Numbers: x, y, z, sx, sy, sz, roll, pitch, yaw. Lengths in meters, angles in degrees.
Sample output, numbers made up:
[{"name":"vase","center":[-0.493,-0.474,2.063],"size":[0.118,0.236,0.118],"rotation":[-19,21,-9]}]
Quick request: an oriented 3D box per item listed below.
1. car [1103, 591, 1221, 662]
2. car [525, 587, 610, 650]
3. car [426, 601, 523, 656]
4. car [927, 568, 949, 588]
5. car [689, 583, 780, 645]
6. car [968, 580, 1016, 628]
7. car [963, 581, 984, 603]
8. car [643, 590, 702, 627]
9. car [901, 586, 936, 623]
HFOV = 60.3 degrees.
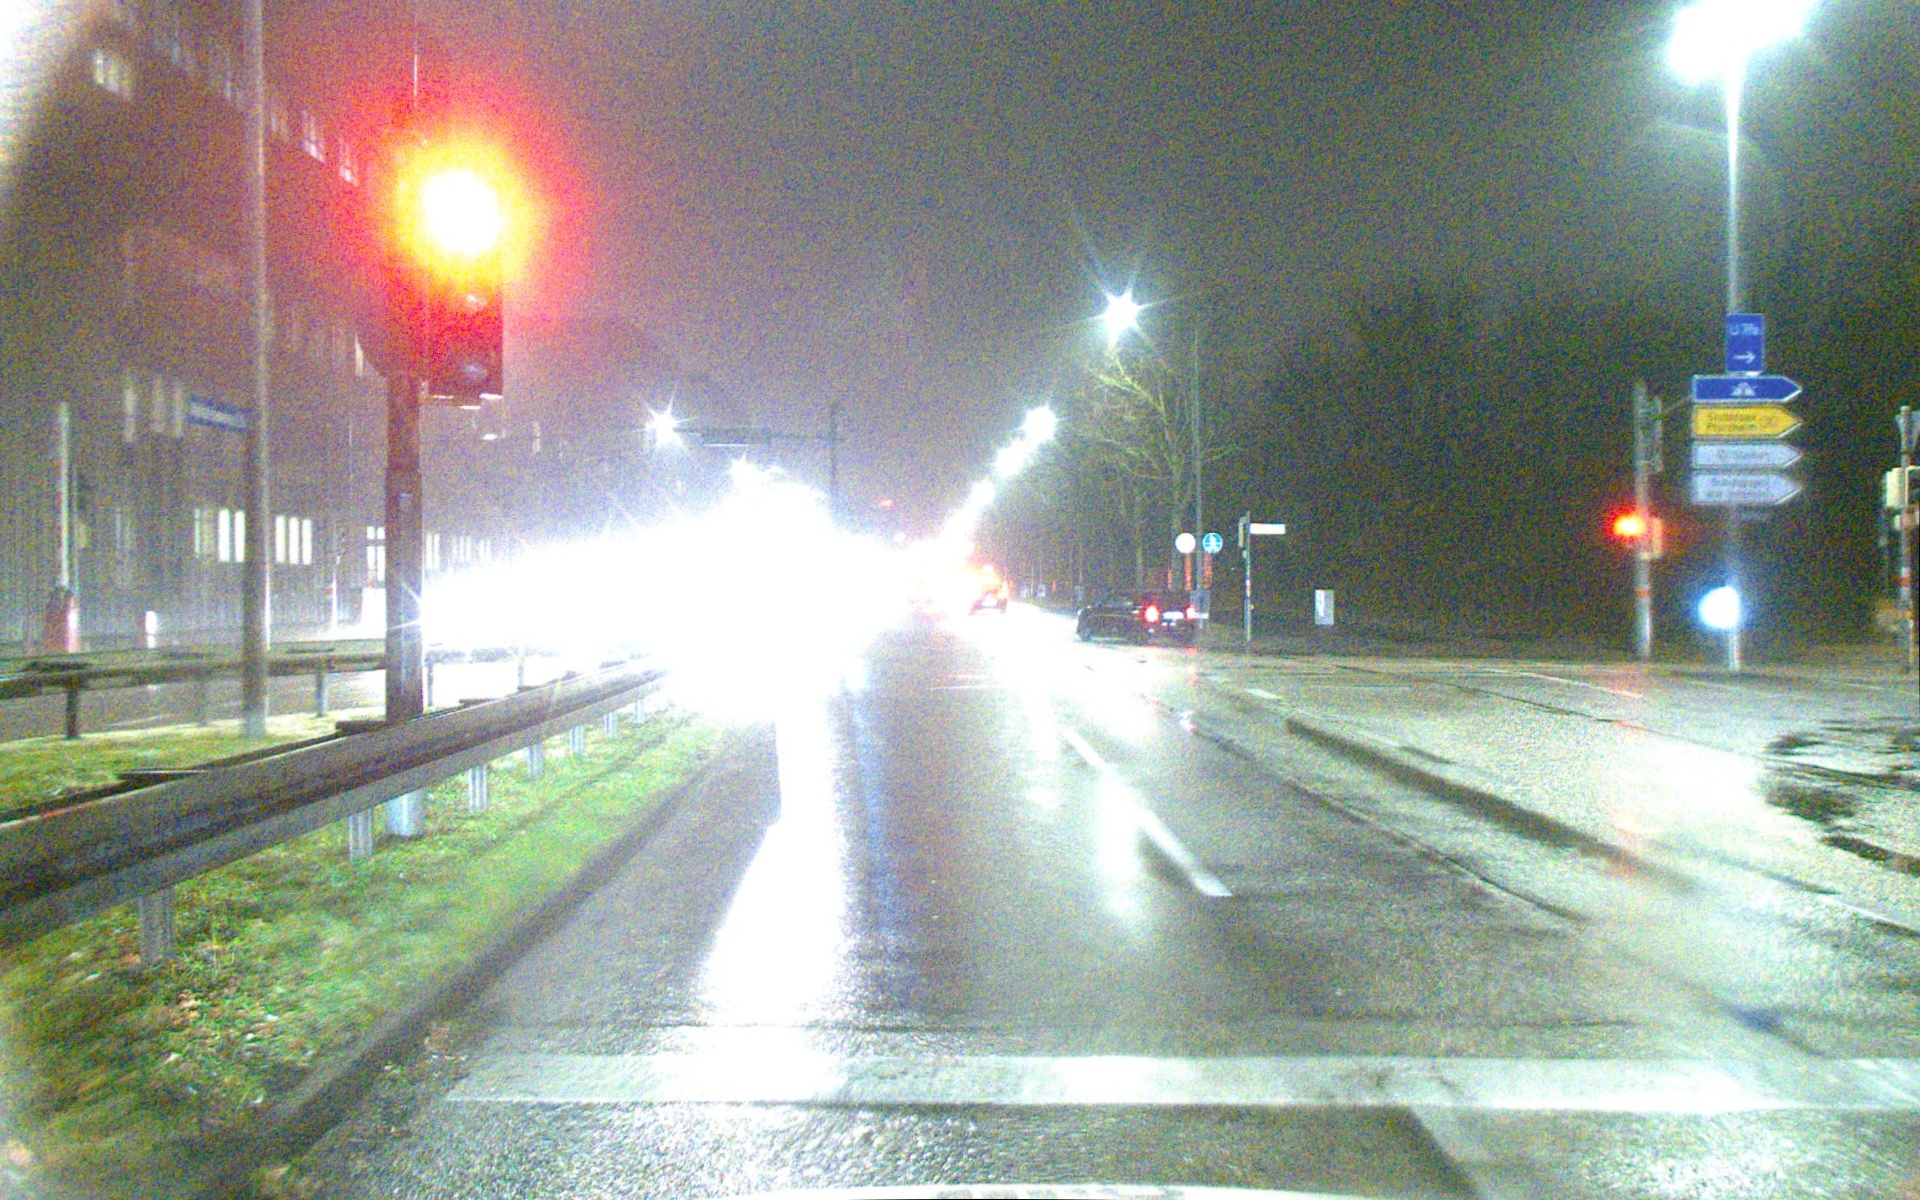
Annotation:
[{"name":"car","center":[5.352,0.684,44.373],"size":[1.870,1.811,3.985],"rotation":[0,0,-14]},{"name":"car","center":[-11.726,0.541,49.652],"size":[1.715,1.738,4.495],"rotation":[-1,0,-4]},{"name":"car","center":[-14.492,0.833,49.531],"size":[1.764,1.591,3.999],"rotation":[0,0,-1]},{"name":"car","center":[-2.659,-2.620,198.222],"size":[2.393,2.232,5.075],"rotation":[0,0,-4]},{"name":"car","center":[-6.272,0.394,46.555],"size":[1.953,1.638,4.969],"rotation":[0,0,-1]},{"name":"car","center":[1.518,0.210,79.655],"size":[2.163,2.253,3.642],"rotation":[0,-1,-1]},{"name":"car","center":[1.274,-0.737,155.621],"size":[1.996,2.049,4.307],"rotation":[0,0,1]},{"name":"car","center":[-12.529,0.378,72.253],"size":[1.847,1.579,4.432],"rotation":[0,0,-1]},{"name":"car","center":[-2.373,0.248,94.611],"size":[1.953,2.049,3.999],"rotation":[0,0,-1]}]
